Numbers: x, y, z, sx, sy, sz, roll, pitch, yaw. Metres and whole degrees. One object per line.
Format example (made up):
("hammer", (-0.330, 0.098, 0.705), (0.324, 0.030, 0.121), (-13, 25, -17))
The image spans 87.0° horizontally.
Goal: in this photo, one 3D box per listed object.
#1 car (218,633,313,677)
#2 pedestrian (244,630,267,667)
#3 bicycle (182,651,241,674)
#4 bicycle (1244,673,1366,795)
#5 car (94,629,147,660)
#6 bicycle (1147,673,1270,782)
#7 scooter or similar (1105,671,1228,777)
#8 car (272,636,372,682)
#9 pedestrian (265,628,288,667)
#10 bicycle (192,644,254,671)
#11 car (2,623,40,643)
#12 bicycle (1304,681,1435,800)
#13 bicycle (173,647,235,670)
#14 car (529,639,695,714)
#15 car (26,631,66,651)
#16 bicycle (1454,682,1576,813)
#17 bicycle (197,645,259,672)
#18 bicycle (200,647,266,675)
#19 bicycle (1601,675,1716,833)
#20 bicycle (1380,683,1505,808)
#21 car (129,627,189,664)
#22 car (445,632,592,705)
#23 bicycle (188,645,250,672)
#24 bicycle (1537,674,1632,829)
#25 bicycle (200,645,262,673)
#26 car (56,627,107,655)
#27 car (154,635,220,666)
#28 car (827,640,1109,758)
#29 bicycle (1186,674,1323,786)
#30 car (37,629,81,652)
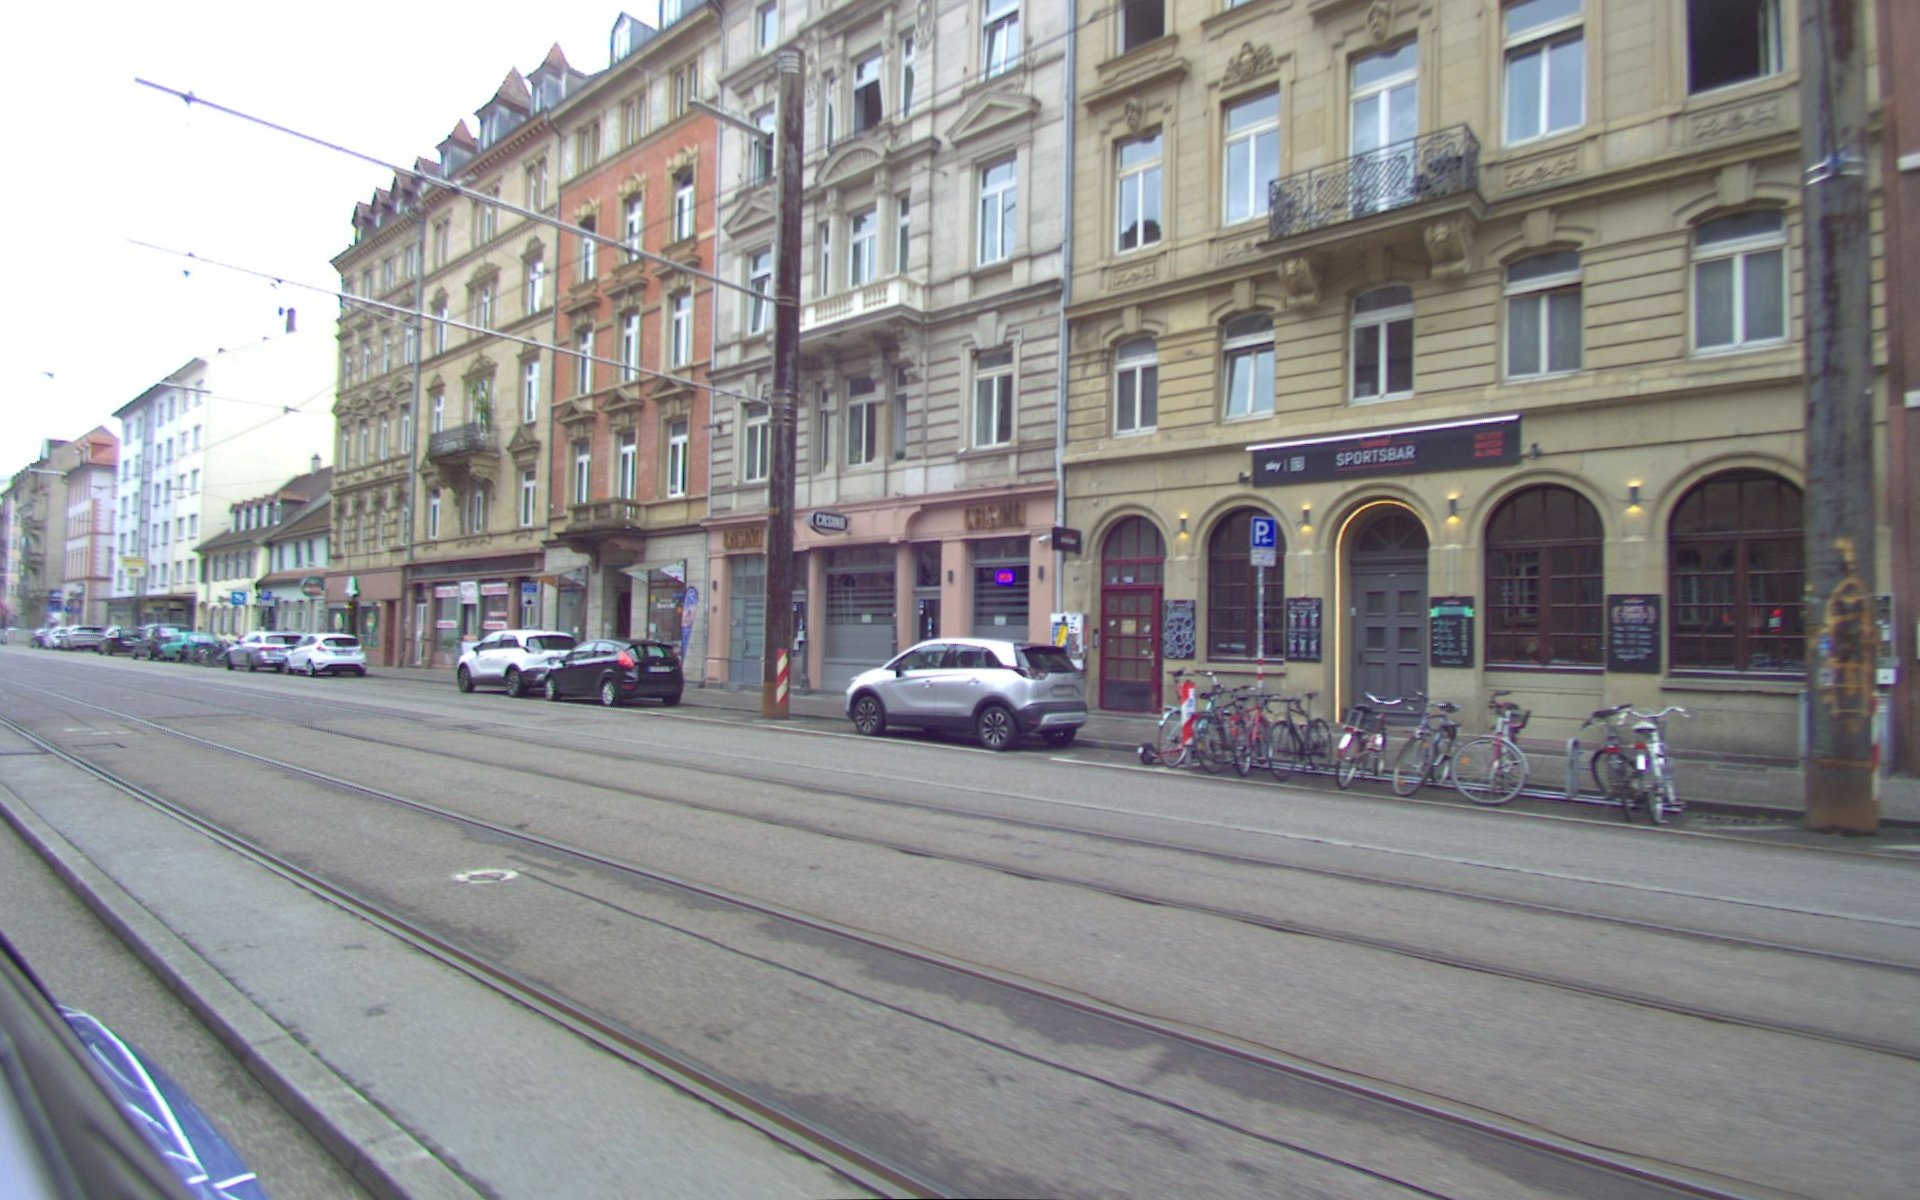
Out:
("car", (-25.934, 2.043, 37.739), (4.543, 1.533, 1.805), (-2, -5, 41))
("pedestrian", (-31.606, 2.166, 45.430), (0.727, 1.629, 0.648), (-1, -2, 40))
("bicycle", (-32.944, 2.748, 44.560), (0.557, 0.940, 2.017), (-1, -2, 42))
("bicycle", (4.116, 1.516, 11.954), (0.540, 1.212, 2.258), (0, -1, 41))
("car", (-47.703, 2.520, 57.483), (4.180, 1.684, 1.682), (-1, -2, 42))
("bicycle", (3.206, 1.563, 12.884), (0.547, 1.212, 2.258), (-1, -3, 41))
("scooter or similar", (2.764, 1.580, 13.343), (0.547, 1.212, 2.258), (-1, -2, 41))
("car", (-22.037, 2.008, 34.898), (4.043, 1.476, 1.725), (-1, -5, 41))
("pedestrian", (-30.966, 2.137, 45.854), (0.753, 1.725, 0.648), (-1, -2, 40))
("bicycle", (-31.157, 2.433, 42.816), (0.557, 1.106, 2.017), (-1, -2, 41))
("car", (-79.001, 2.777, 85.160), (3.998, 1.574, 1.843), (-1, -5, 41))
("bicycle", (4.752, 1.572, 11.640), (0.704, 1.212, 2.258), (-1, -5, 41))
("bicycle", (-33.533, 2.587, 44.916), (0.556, 0.940, 2.100), (-1, -2, 38))
("car", (-7.721, 1.639, 22.314), (3.919, 1.500, 1.725), (-2, -5, 42))
("car", (-66.047, 2.928, 73.089), (3.244, 1.354, 1.710), (-1, -2, 41))
("bicycle", (5.905, 1.508, 10.699), (0.666, 1.212, 2.258), (-1, -5, 41))
("bicycle", (-30.705, 2.443, 42.451), (0.557, 1.106, 2.017), (-1, -2, 41))
("bicycle", (-29.816, 2.479, 41.538), (0.557, 1.106, 2.111), (-1, -2, 41))
("bicycle", (6.853, 1.444, 9.882), (0.666, 1.339, 2.258), (-1, -5, 41))
("bicycle", (5.365, 1.557, 11.164), (0.666, 1.212, 2.258), (-1, -5, 41))
("car", (-40.106, 2.268, 50.629), (3.919, 1.770, 1.684), (-1, -5, 43))
("car", (-11.125, 1.671, 25.400), (4.043, 1.685, 1.725), (-1, -5, 41))
("bicycle", (-31.652, 2.493, 43.254), (0.557, 1.106, 2.017), (-1, -2, 41))
("bicycle", (6.382, 1.461, 10.294), (0.448, 1.304, 2.258), (-1, -1, 41))
("bicycle", (-30.237, 2.430, 41.991), (0.557, 1.106, 2.017), (-1, -2, 41))
("car", (-56.124, 2.590, 64.634), (3.824, 1.745, 1.904), (-1, -2, 41))
("car", (-36.575, 2.395, 47.861), (3.431, 1.391, 1.631), (-2, -5, 38))
("car", (0.034, 1.441, 15.622), (4.222, 1.545, 1.726), (-1, -5, 41))
("bicycle", (3.630, 1.553, 12.326), (0.704, 1.212, 2.258), (-1, -5, 41))
("car", (-61.443, 2.735, 68.998), (3.824, 1.462, 1.710), (-1, -2, 41))
